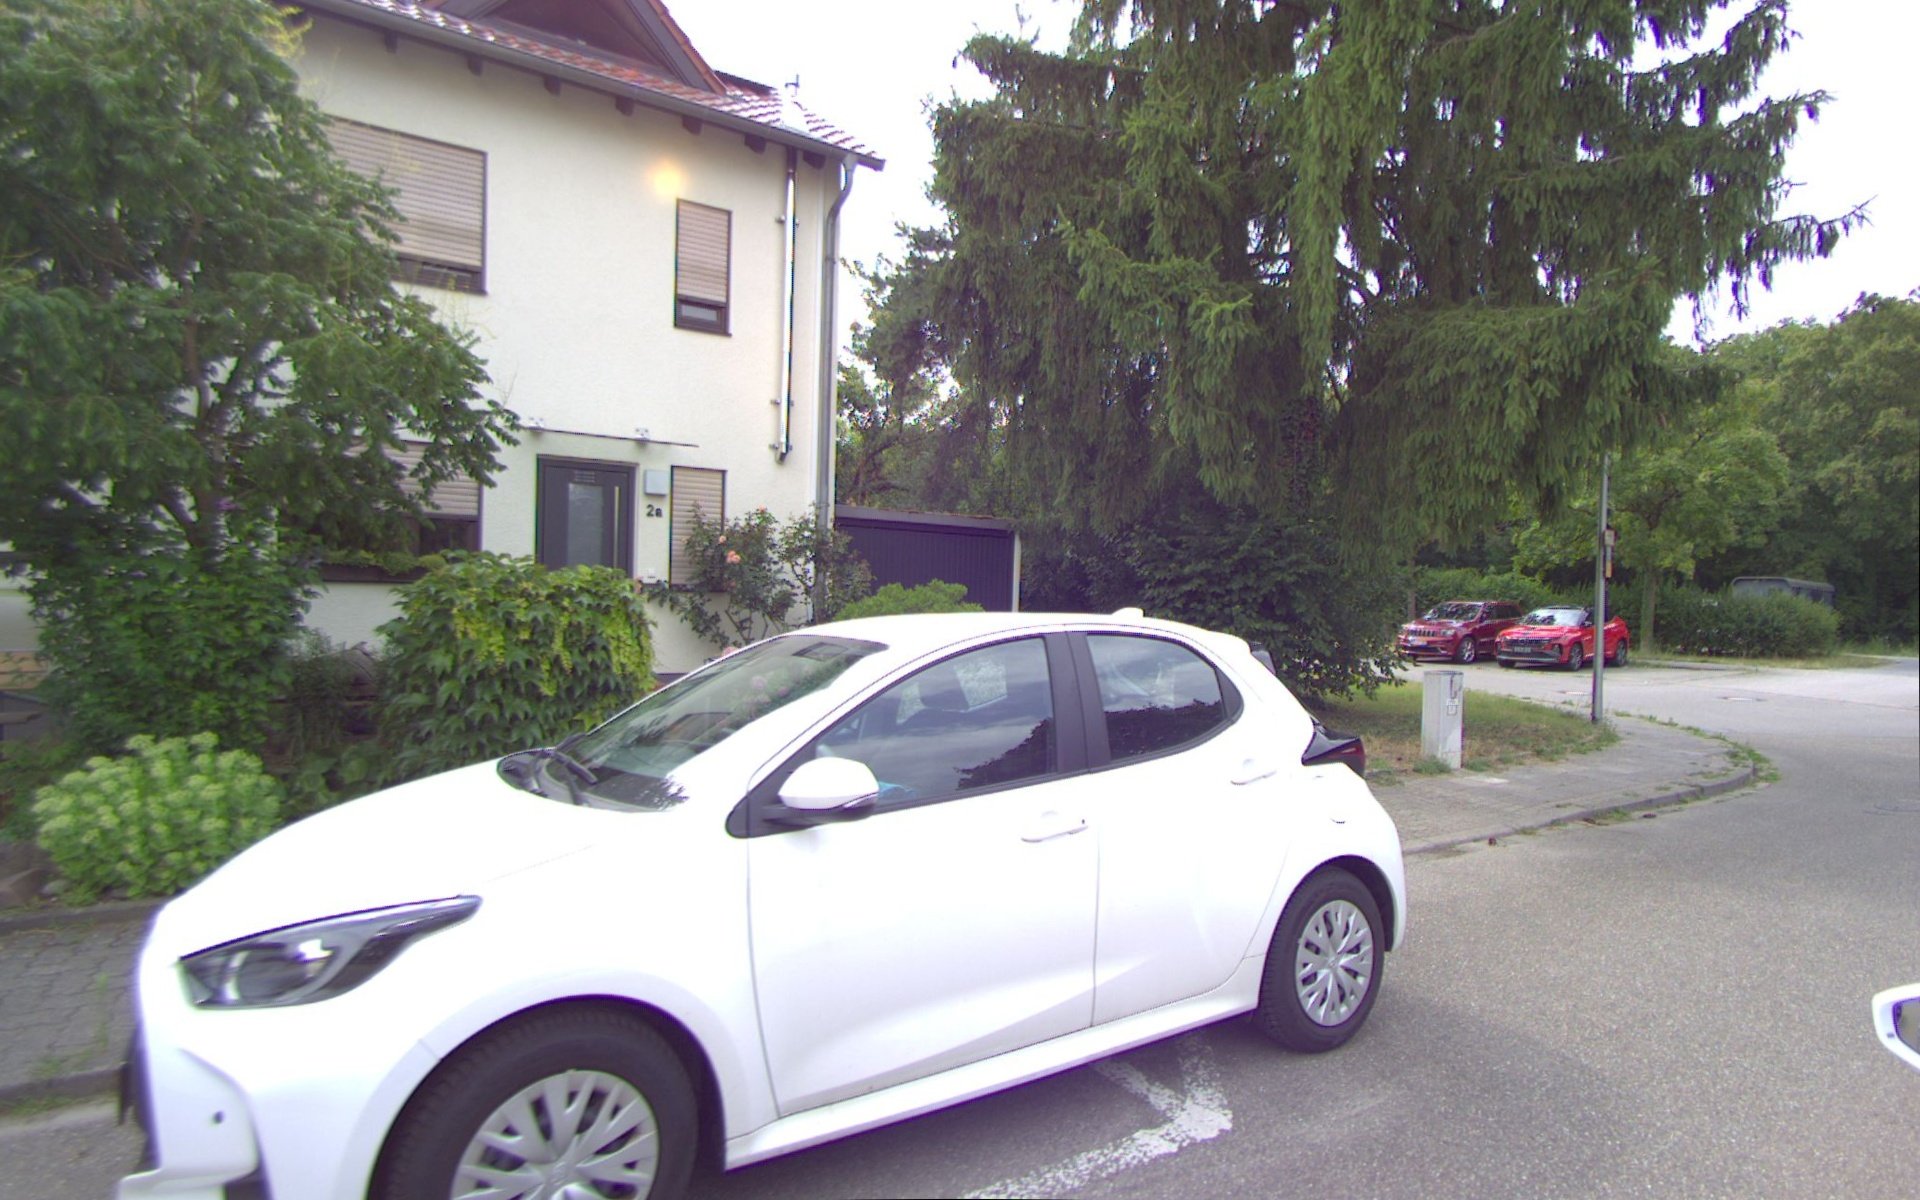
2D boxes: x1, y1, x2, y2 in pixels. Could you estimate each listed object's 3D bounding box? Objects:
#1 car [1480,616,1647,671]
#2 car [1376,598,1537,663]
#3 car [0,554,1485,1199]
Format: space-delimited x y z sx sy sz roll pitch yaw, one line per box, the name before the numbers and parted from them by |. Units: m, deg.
car | 16.126 1.122 26.774 4.643 1.308 1.982 1 0 -33
car | 14.387 0.870 29.023 4.643 1.708 2.079 1 0 -33
car | -0.284 0.741 3.379 4.093 1.551 1.782 1 0 -31
